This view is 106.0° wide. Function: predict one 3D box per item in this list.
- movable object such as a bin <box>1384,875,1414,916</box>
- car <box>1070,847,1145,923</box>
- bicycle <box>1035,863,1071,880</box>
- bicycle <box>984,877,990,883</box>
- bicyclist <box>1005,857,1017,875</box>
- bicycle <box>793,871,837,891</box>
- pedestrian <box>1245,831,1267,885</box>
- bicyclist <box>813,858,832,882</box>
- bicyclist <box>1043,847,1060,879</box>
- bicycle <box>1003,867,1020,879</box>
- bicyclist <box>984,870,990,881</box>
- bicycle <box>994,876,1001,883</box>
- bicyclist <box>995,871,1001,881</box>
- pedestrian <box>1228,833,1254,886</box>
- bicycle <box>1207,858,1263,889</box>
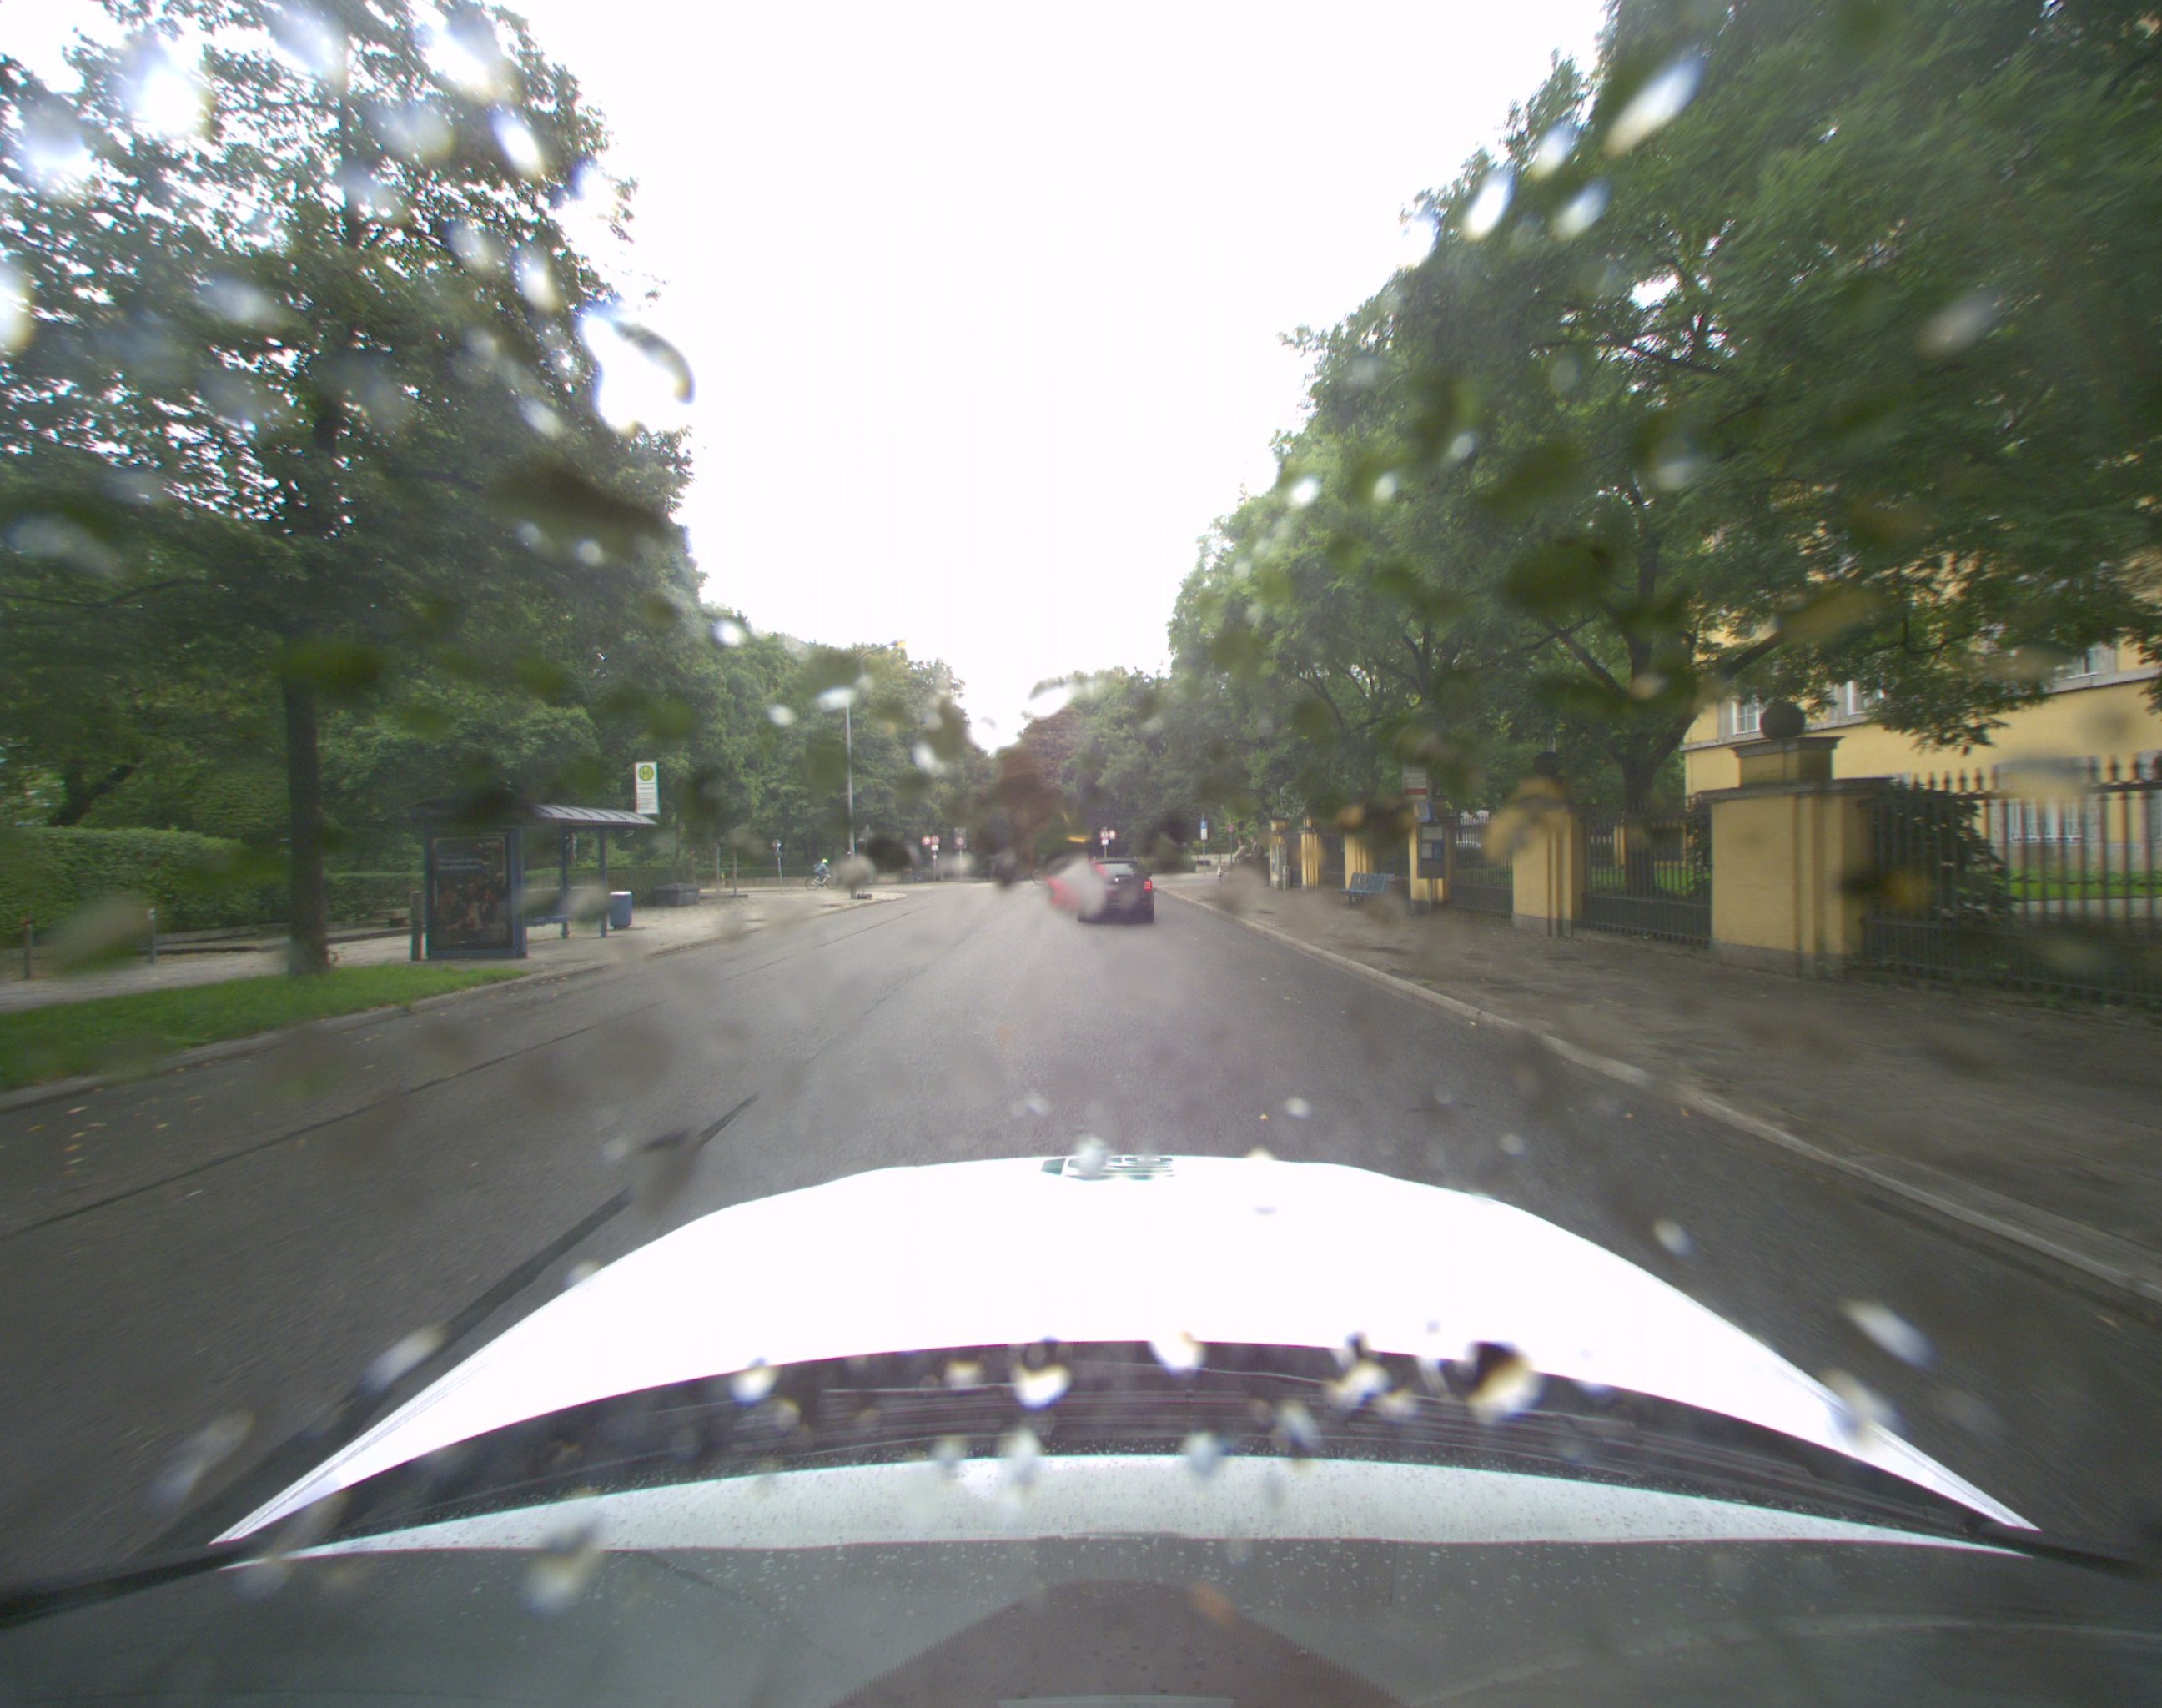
[{"bbox_3d":[6.402,0.823,16.398,0.395,0.780,0.465,-2,0,1],"label":"movable object such as a bin"},{"bbox_3d":[0.629,0.674,19.517,1.571,1.584,4.045,-2,0,2],"label":"car"},{"bbox_3d":[-1.382,0.865,40.344,1.757,0.796,0.571,-1,-1,1],"label":"bicycle"},{"bbox_3d":[-13.082,3.587,113.694,0.679,0.830,2.102,-2,-1,-10],"label":"bicycle"},{"bbox_3d":[-5.052,0.890,59.092,0.676,1.282,0.601,-2,0,9],"label":"bicyclist"},{"bbox_3d":[-14.319,1.471,43.854,2.115,0.991,0.675,-1,-1,-28],"label":"bicycle"},{"bbox_3d":[6.364,0.145,29.639,0.541,1.918,0.491,-4,-1,-9],"label":"pedestrian"},{"bbox_3d":[-13.960,0.877,43.981,0.856,1.257,0.520,-1,-1,-28],"label":"bicyclist"},{"bbox_3d":[-1.481,0.449,40.359,0.748,1.585,0.656,-2,-1,1],"label":"bicyclist"},{"bbox_3d":[-5.038,1.376,59.003,0.675,0.830,2.115,-2,-1,9],"label":"bicycle"},{"bbox_3d":[-13.128,3.055,113.942,0.681,1.504,0.898,-2,0,-10],"label":"bicyclist"},{"bbox_3d":[-10.388,3.115,101.581,0.680,0.830,2.102,-2,-1,-11],"label":"bicycle"},{"bbox_3d":[-10.403,2.721,101.590,0.681,1.187,0.479,-2,0,-12],"label":"bicyclist"},{"bbox_3d":[6.054,0.206,30.791,0.674,1.918,0.638,-4,-1,-9],"label":"pedestrian"},{"bbox_3d":[5.683,0.719,30.110,1.904,0.949,0.581,-5,-1,-8],"label":"bicycle"}]
